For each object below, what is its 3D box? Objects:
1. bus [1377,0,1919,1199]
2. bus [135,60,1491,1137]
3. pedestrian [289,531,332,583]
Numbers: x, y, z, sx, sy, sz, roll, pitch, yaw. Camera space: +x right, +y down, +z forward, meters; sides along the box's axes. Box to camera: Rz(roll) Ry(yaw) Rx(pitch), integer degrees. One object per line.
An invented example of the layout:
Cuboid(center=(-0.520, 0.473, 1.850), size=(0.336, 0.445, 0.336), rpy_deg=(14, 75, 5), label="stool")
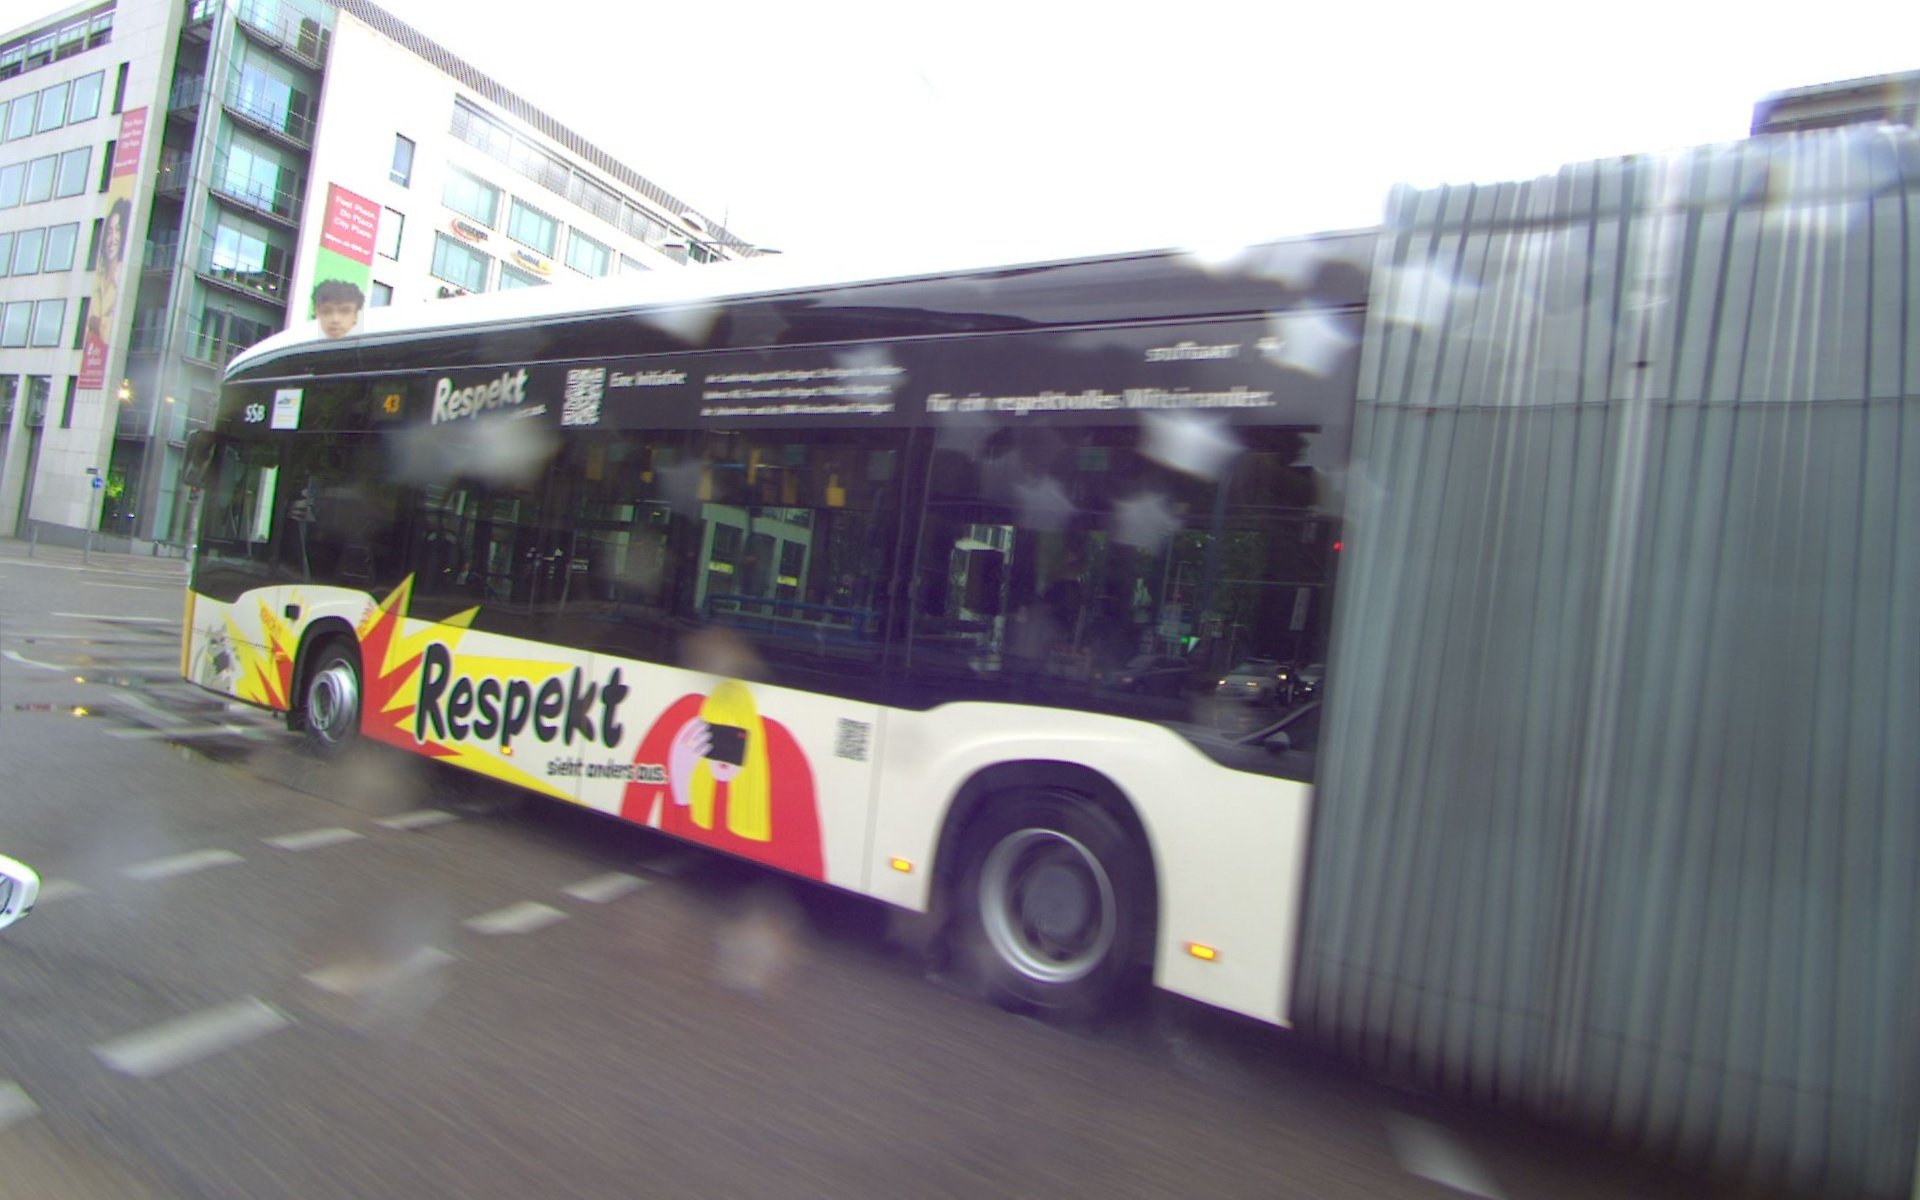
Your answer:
Cuboid(center=(6.235, 0.527, 1.789), size=(9.552, 3.479, 2.888), rpy_deg=(5, -2, 32), label="bus")
Cuboid(center=(-1.946, -0.243, 7.072), size=(9.599, 3.490, 2.888), rpy_deg=(5, -2, 33), label="bus")
Cuboid(center=(-25.098, -1.670, 38.864), size=(0.822, 1.837, 0.964), rpy_deg=(6, -2, 31), label="pedestrian")
